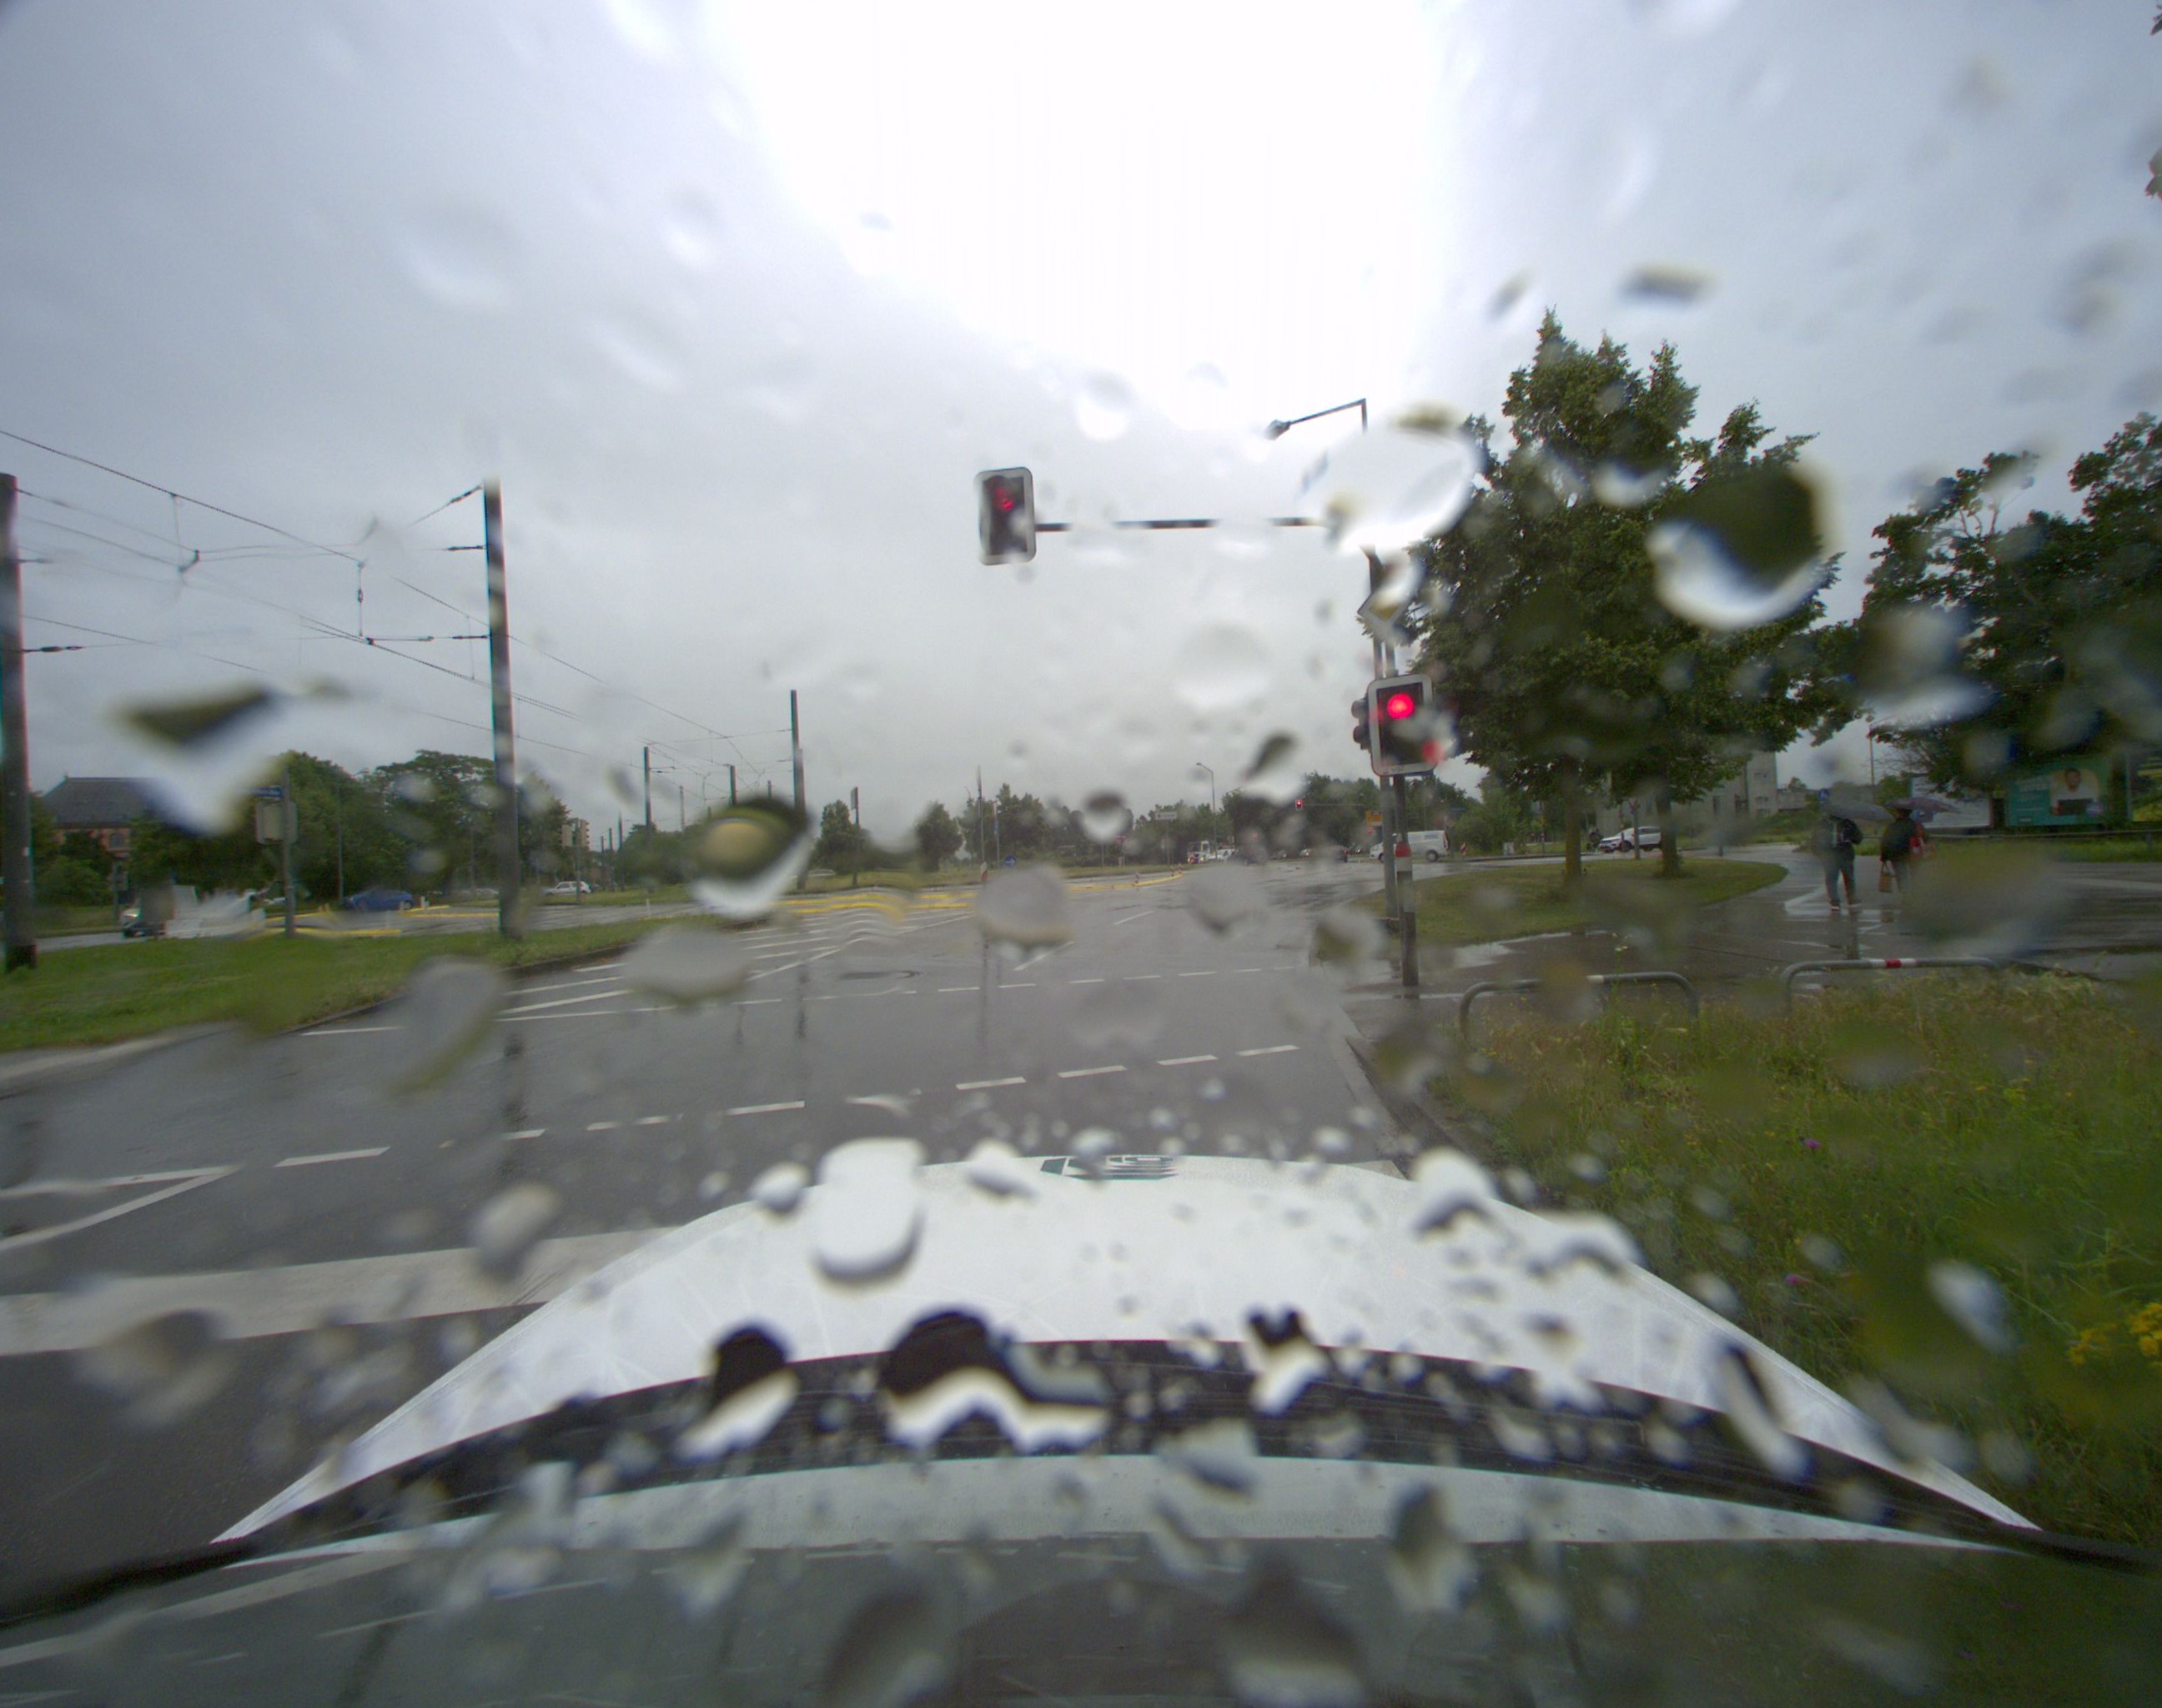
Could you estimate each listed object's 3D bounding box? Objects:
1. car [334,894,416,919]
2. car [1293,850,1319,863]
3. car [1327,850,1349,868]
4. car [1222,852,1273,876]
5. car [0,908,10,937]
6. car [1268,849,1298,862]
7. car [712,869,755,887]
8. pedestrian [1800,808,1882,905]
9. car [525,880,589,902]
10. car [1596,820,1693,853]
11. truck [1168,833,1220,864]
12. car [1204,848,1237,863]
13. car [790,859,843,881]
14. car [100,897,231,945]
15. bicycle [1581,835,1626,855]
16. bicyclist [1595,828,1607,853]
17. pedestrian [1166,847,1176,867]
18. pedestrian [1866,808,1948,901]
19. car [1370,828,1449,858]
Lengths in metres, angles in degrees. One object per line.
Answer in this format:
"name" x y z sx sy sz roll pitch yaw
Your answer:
"car" -49.606 3.697 57.300 1.603 1.454 4.012 -3 0 28
"car" 29.587 0.285 106.970 1.779 1.662 4.025 -1 -1 40
"car" 22.298 0.449 70.770 1.606 1.454 4.003 -2 0 14
"car" 13.558 0.809 66.673 1.999 1.851 4.747 0 -1 -18
"car" -58.143 3.673 41.628 1.602 1.454 4.012 -3 0 41
"car" 25.296 0.218 101.809 1.779 1.662 4.436 -1 -1 43
"car" -36.866 2.506 86.472 1.660 1.816 4.025 -1 -1 31
"pedestrian" 12.299 0.035 13.191 0.619 1.522 0.741 -1 0 0
"car" -42.450 2.982 66.028 1.602 1.454 4.013 -3 0 40
"car" 35.649 -1.090 51.624 4.746 1.851 1.999 -3 0 -1
"truck" 10.355 -0.410 74.056 2.439 2.686 8.105 -1 -1 25
"car" 16.467 0.161 95.887 1.779 1.662 4.159 -1 -1 43
"car" -25.554 1.528 78.804 4.770 1.851 1.989 -2 0 -16
"car" -34.407 2.475 30.761 1.625 1.454 4.081 -2 0 -23
"bicycle" 36.059 -0.627 56.230 2.480 1.314 0.574 -1 -1 22
"bicyclist" 35.935 -0.943 56.299 0.584 1.742 0.499 -1 -1 19
"pedestrian" 6.000 0.227 54.289 0.448 1.304 0.489 -3 -1 40
"pedestrian" 13.641 0.013 13.468 0.678 1.461 0.573 -3 -1 -3
"car" 21.732 -0.688 53.936 4.717 1.851 2.011 -1 -1 25
